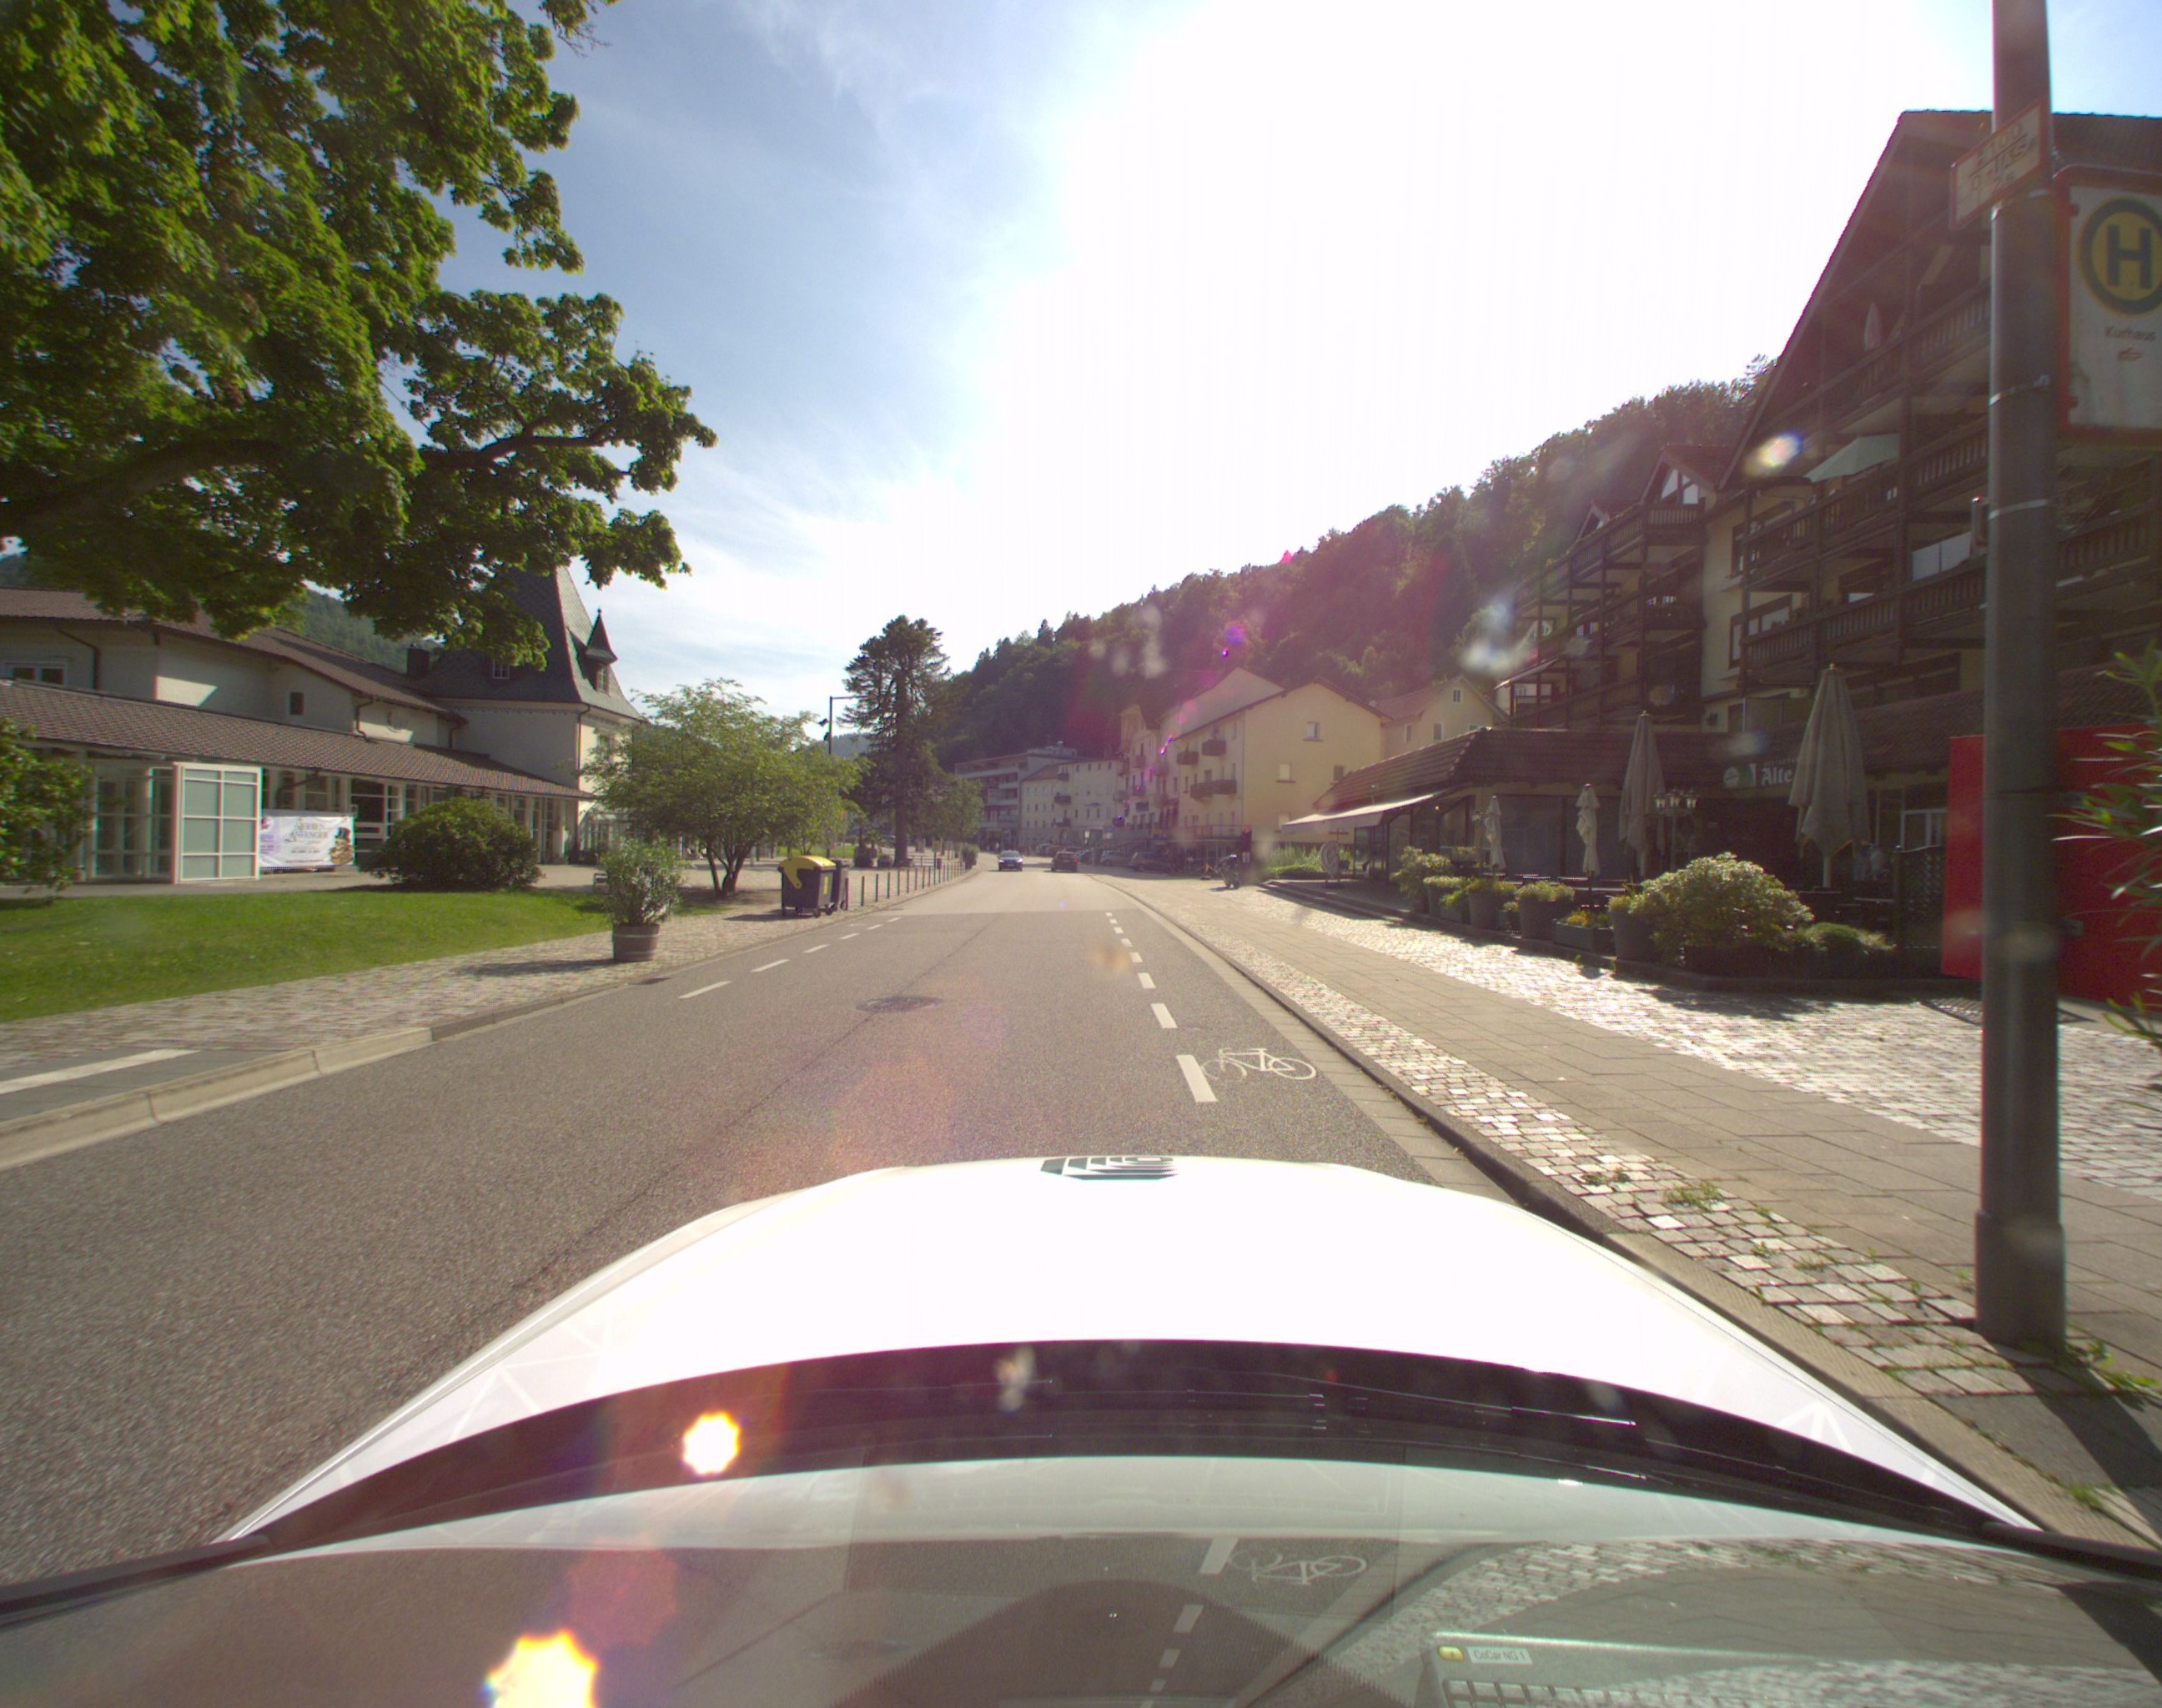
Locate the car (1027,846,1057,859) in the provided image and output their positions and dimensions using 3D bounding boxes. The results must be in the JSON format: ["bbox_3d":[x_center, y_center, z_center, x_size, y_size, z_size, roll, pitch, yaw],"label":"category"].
[{"bbox_3d":[-5.463,-0.199,114.701,3.884,1.612,1.756,-2,3,-29],"label":"car"}]

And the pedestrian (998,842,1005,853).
[{"bbox_3d":[-12.159,-0.985,124.665,0.673,1.728,0.701,2,0,-31],"label":"pedestrian"}]

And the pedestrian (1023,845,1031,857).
[{"bbox_3d":[-7.155,-0.403,107.869,0.740,1.442,0.626,-1,1,-35],"label":"pedestrian"}]

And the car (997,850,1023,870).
[{"bbox_3d":[-5.228,0.420,60.479,1.737,1.462,4.183,-1,0,-2],"label":"car"}]

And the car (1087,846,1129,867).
[{"bbox_3d":[2.771,0.255,83.357,3.907,1.804,1.852,4,-1,-8],"label":"car"}]

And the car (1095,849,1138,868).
[{"bbox_3d":[3.466,0.473,80.654,3.907,1.589,1.770,4,1,-9],"label":"car"}]

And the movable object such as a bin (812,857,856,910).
[{"bbox_3d":[-6.591,0.770,21.800,0.753,1.341,1.294,3,0,-1],"label":"movable object such as a bin"}]

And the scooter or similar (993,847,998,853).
[{"bbox_3d":[-12.937,-0.647,123.878,0.600,0.950,0.470,2,0,-31],"label":"scooter or similar"}]

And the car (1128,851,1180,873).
[{"bbox_3d":[6.031,0.651,67.027,3.861,1.554,1.754,4,0,-11],"label":"car"}]

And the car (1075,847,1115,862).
[{"bbox_3d":[1.586,0.055,92.385,4.351,1.461,1.769,3,-1,-6],"label":"car"}]

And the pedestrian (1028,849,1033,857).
[{"bbox_3d":[-6.685,-0.164,108.182,0.420,1.002,0.525,-1,1,-32],"label":"pedestrian"}]

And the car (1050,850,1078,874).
[{"bbox_3d":[-1.277,0.570,60.881,1.725,1.574,3.746,2,2,-6],"label":"car"}]

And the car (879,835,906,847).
[{"bbox_3d":[-30.899,-2.095,133.631,4.954,1.953,1.872,1,1,42],"label":"car"}]

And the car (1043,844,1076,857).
[{"bbox_3d":[-2.866,-0.489,108.963,4.033,1.516,1.756,-2,3,-29],"label":"car"}]

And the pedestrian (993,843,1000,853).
[{"bbox_3d":[-12.828,-0.932,123.710,0.762,1.593,0.622,2,0,-31],"label":"pedestrian"}]

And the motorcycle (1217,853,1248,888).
[{"bbox_3d":[5.902,0.640,31.918,0.695,1.296,2.210,-2,0,-2],"label":"motorcycle"}]

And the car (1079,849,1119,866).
[{"bbox_3d":[1.848,0.350,85.974,3.907,1.460,1.731,4,0,-8],"label":"car"}]

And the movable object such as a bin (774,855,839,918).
[{"bbox_3d":[-6.673,0.775,19.889,1.075,1.427,1.376,3,0,-2],"label":"movable object such as a bin"}]

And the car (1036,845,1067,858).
[{"bbox_3d":[-4.062,-0.386,112.093,3.884,1.549,1.756,-2,3,-29],"label":"car"}]
